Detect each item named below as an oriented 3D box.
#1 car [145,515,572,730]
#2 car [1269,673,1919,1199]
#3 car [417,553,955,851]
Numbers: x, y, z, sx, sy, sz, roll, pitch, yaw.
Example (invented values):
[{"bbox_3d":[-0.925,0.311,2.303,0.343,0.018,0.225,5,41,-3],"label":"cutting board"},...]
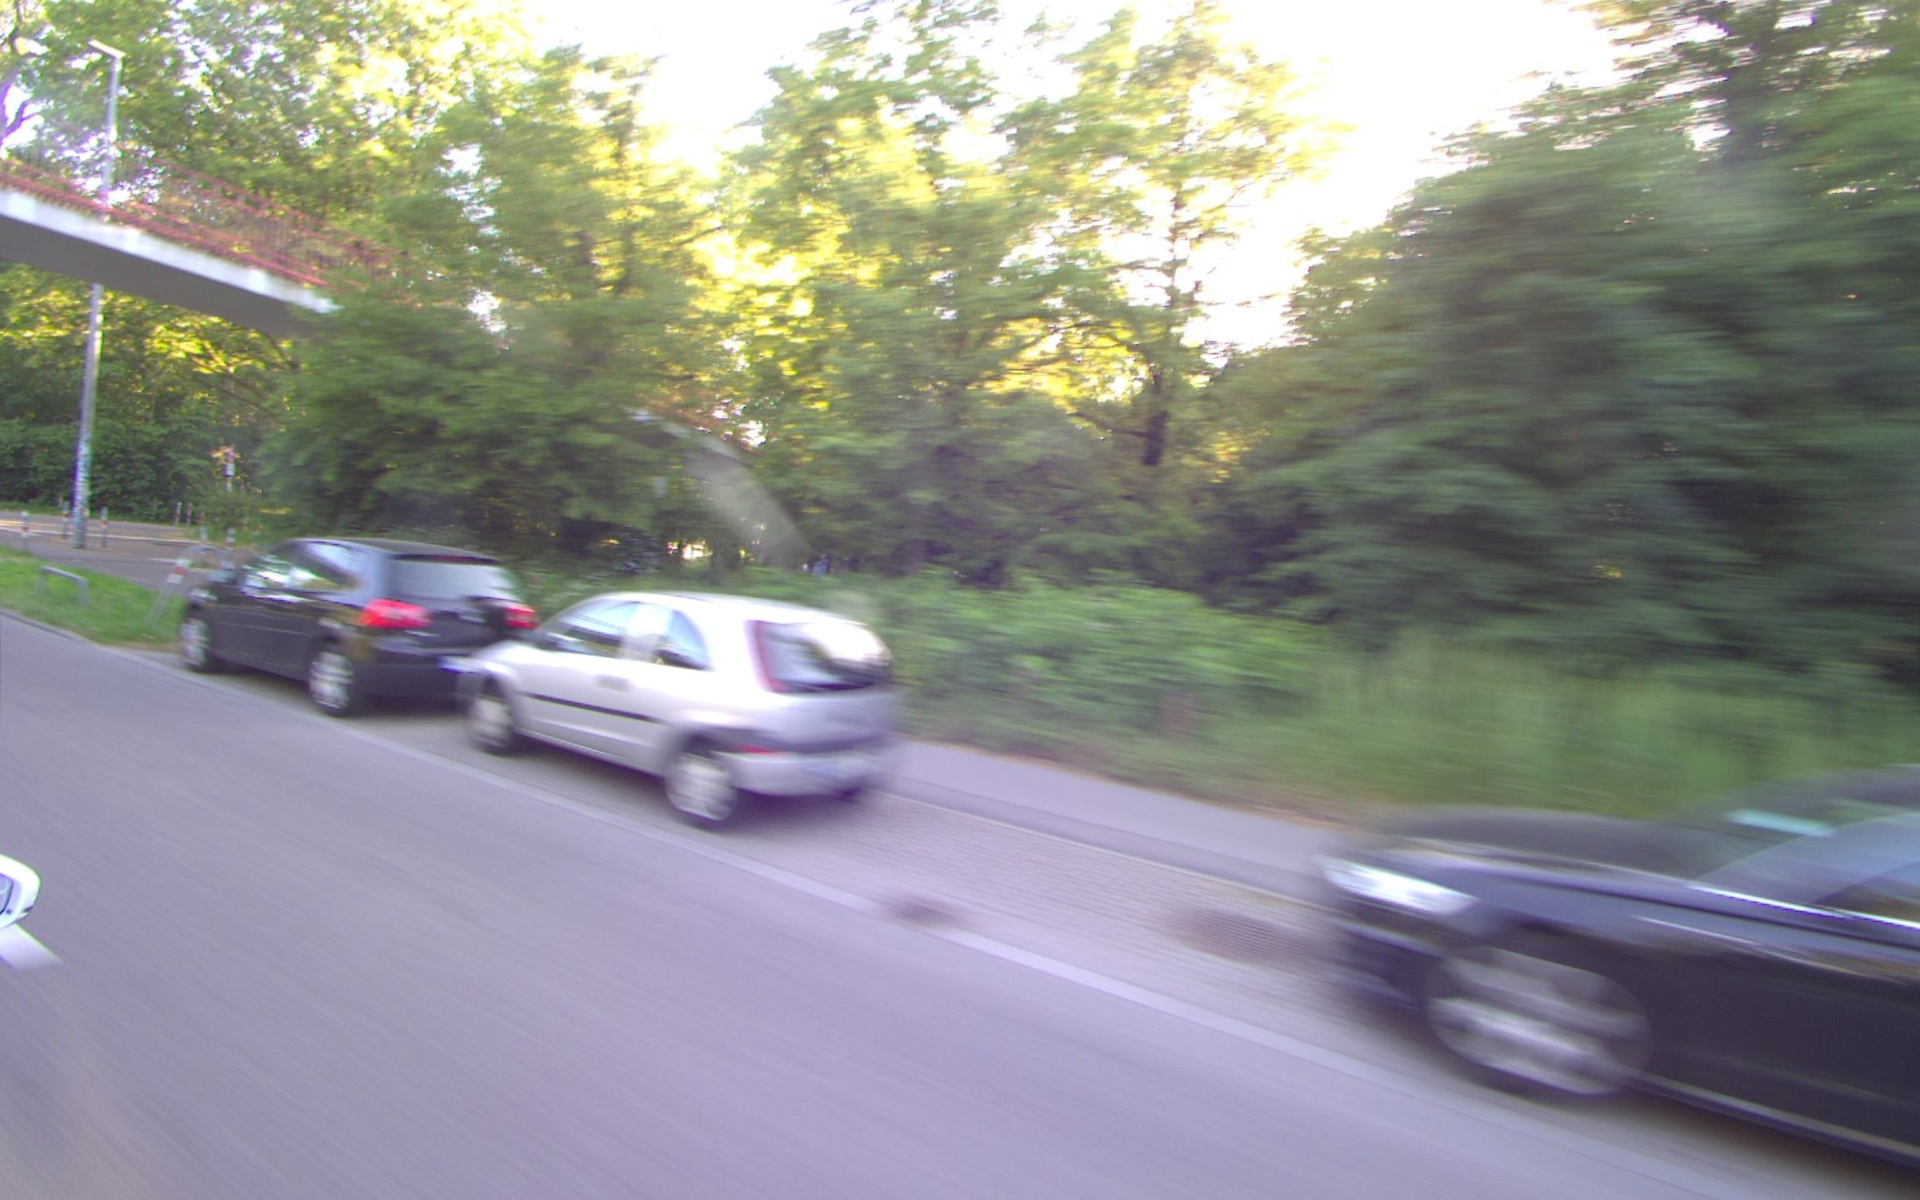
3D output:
[{"bbox_3d":[-5.994,0.131,9.872,4.315,1.472,1.775,7,1,32],"label":"car"},{"bbox_3d":[3.987,1.371,3.893,4.952,1.472,1.776,7,1,30],"label":"car"},{"bbox_3d":[-2.220,0.598,7.750,3.950,1.472,1.774,7,1,34],"label":"car"}]
